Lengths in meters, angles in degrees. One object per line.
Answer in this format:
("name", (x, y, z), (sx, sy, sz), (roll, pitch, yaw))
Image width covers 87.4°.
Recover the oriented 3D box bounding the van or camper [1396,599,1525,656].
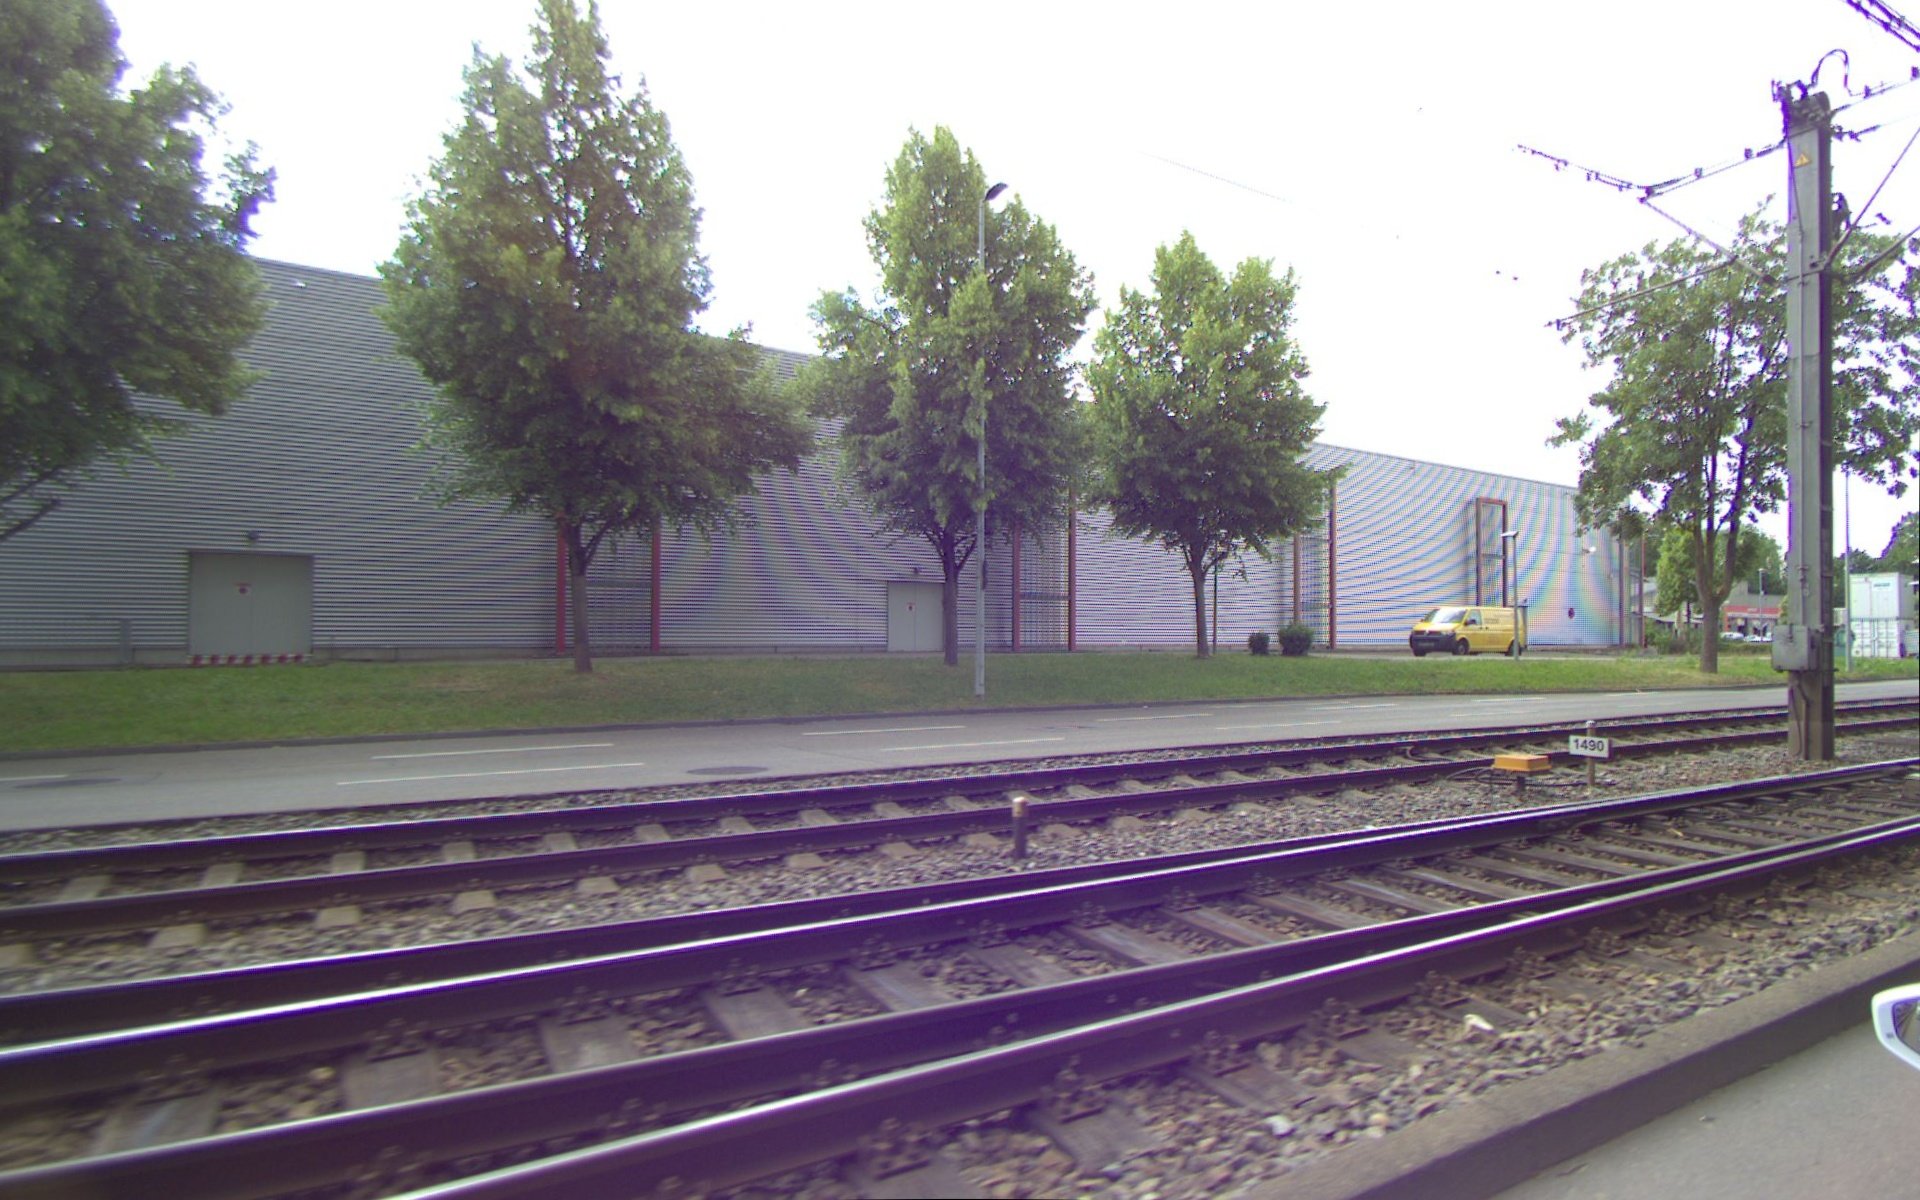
("van or camper", (19.169, 1.065, 38.381), (5.186, 2.040, 2.091), (2, -1, -33))
